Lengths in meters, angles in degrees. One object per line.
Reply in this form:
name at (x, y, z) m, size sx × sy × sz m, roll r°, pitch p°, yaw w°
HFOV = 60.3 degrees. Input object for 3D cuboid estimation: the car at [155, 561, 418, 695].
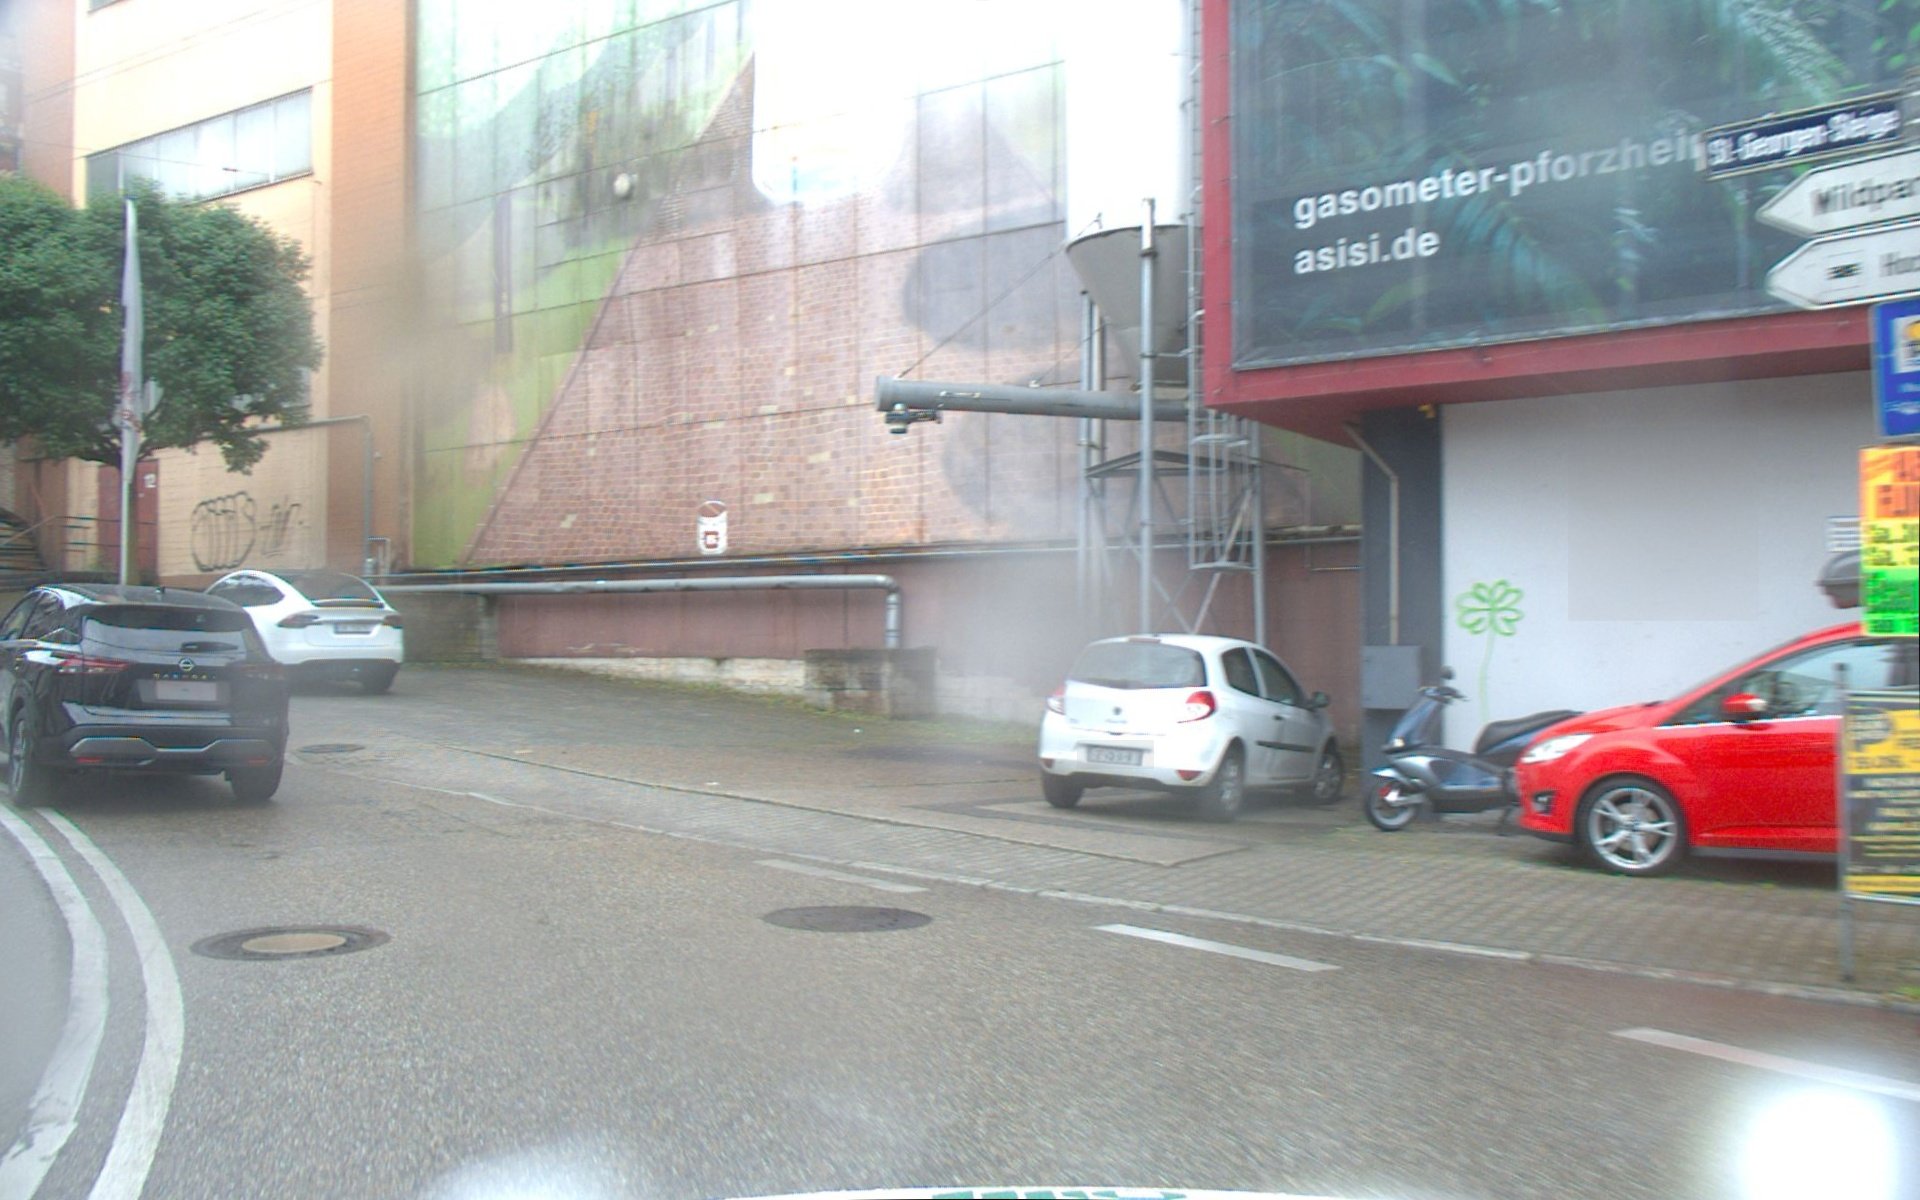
car at (-10.076, 0.350, 24.542) m, size 4.834 × 1.645 × 1.846 m, roll 4°, pitch 2°, yaw 45°

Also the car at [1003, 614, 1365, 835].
car at (2.178, 0.988, 15.050) m, size 1.835 × 1.559 × 3.984 m, roll 0°, pitch 2°, yaw 31°

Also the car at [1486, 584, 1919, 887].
car at (5.827, 0.785, 10.471) m, size 4.400 × 1.741 × 1.926 m, roll -1°, pitch -1°, yaw 35°

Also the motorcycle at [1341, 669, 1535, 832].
motorcycle at (3.665, 1.133, 12.693) m, size 1.390 × 1.181 × 0.452 m, roll 0°, pitch -2°, yaw 23°

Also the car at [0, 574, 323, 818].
car at (-6.685, 0.649, 13.184) m, size 1.868 × 1.622 × 3.866 m, roll 3°, pitch -1°, yaw -39°
